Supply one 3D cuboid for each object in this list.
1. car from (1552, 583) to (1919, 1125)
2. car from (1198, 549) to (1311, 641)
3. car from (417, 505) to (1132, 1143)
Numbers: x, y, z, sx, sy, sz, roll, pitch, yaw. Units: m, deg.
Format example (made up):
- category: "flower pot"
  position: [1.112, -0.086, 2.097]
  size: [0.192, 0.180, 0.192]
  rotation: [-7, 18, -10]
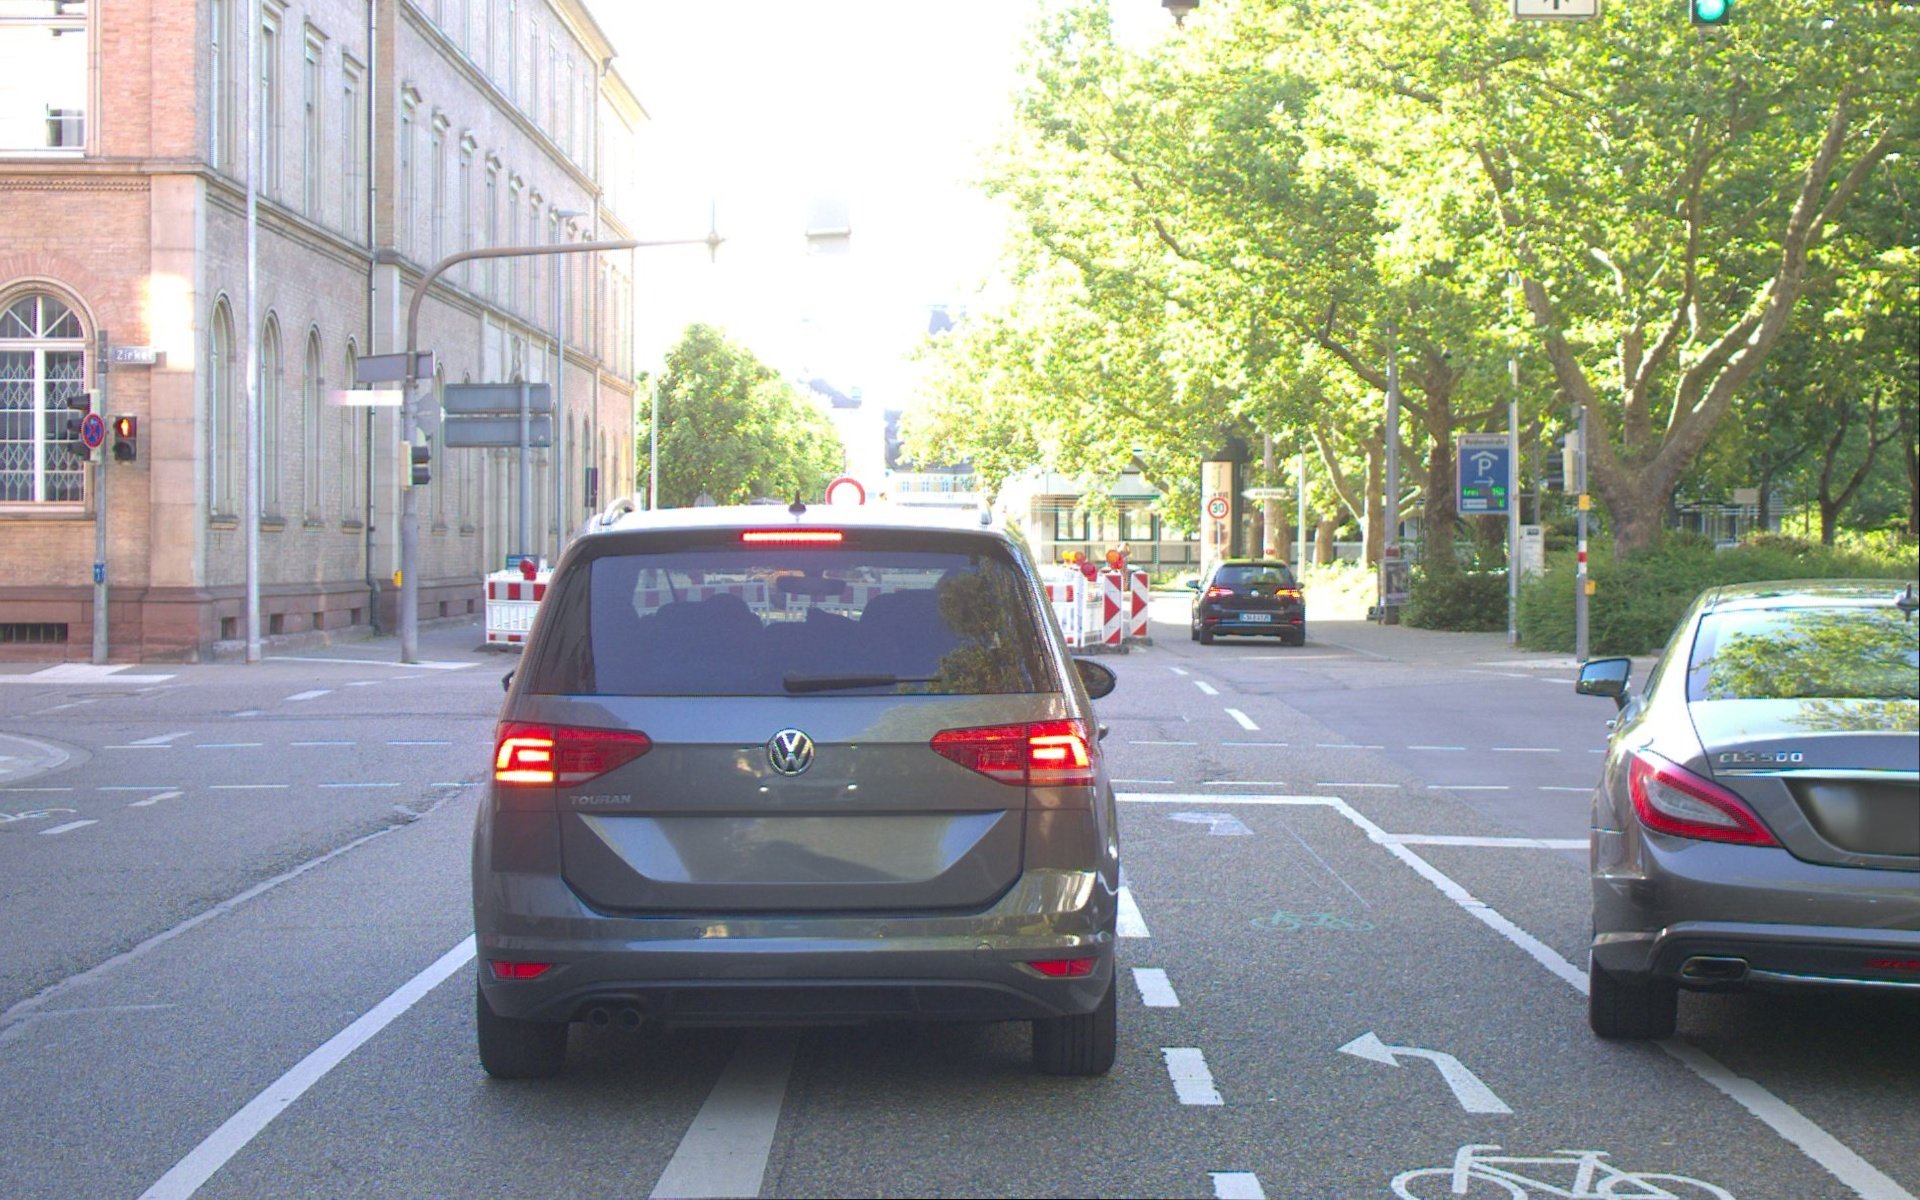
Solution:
- category: "car"
  position: [2.955, 0.680, 11.473]
  size: [1.843, 1.424, 4.516]
  rotation: [1, 1, 9]
- category: "car"
  position: [4.926, -0.097, 57.901]
  size: [1.689, 1.435, 3.902]
  rotation: [2, 1, 2]
- category: "car"
  position: [-0.416, 0.542, 10.687]
  size: [1.809, 1.607, 4.000]
  rotation: [0, 1, 2]
